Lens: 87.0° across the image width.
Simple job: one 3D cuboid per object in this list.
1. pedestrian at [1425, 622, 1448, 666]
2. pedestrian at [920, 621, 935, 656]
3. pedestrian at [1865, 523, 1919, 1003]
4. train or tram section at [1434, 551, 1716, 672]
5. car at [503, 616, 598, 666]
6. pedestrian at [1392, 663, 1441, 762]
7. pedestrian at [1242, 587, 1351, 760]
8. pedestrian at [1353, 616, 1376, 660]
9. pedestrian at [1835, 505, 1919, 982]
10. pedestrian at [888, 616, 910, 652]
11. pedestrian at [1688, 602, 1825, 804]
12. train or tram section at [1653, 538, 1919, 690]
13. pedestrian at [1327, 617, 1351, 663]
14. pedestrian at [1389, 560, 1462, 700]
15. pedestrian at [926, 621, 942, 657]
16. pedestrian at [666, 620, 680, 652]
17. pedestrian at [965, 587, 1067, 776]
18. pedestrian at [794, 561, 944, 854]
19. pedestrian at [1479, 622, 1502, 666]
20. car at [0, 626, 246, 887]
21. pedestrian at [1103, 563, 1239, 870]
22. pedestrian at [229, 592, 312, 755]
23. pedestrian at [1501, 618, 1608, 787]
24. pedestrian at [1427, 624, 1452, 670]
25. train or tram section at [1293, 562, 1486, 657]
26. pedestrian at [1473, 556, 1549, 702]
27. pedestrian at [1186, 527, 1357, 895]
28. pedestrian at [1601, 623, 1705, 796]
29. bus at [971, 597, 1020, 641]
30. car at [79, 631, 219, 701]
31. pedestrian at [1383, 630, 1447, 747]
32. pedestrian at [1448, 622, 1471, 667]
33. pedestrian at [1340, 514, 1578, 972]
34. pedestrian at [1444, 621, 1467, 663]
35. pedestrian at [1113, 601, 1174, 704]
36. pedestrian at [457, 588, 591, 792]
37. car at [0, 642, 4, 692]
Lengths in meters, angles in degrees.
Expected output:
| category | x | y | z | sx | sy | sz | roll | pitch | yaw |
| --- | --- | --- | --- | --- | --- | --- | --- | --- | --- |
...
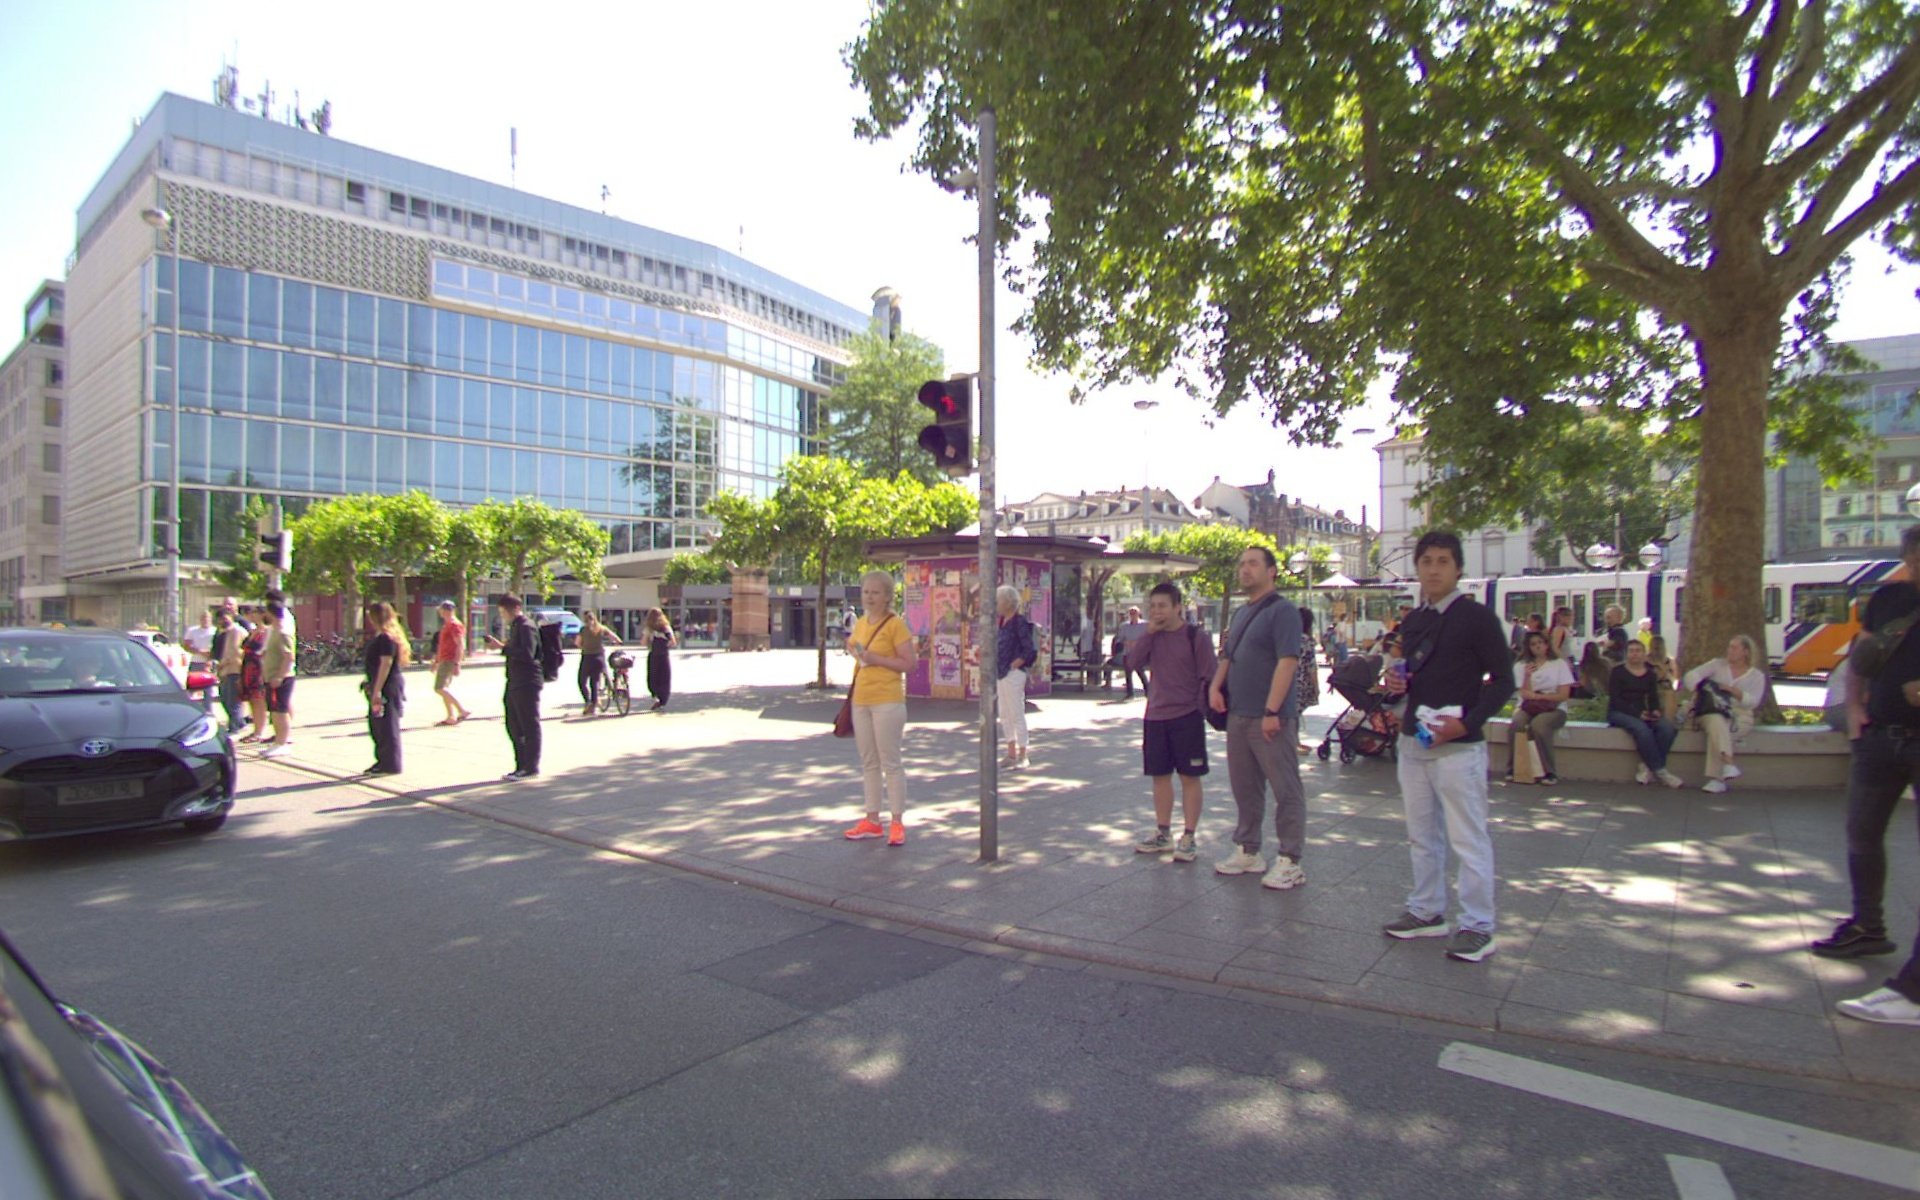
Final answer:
| category | x | y | z | sx | sy | sz | roll | pitch | yaw |
| --- | --- | --- | --- | --- | --- | --- | --- | --- | --- |
| pedestrian | 16.726 | 1.529 | 35.521 | 0.554 | 1.483 | 0.748 | -1 | 0 | 39 |
| pedestrian | -1.401 | 1.676 | 43.641 | 0.410 | 1.483 | 0.459 | -1 | 0 | 37 |
| pedestrian | 3.688 | 0.557 | 3.400 | 0.620 | 1.661 | 0.754 | -1 | 0 | -24 |
| train or tram section | 22.127 | 0.358 | 37.366 | 2.577 | 3.856 | 9.548 | -1 | 0 | -17 |
| car | -18.202 | 1.791 | 44.924 | 3.988 | 2.029 | 1.978 | -1 | 0 | 33 |
| pedestrian | 4.699 | 1.150 | 10.421 | 0.334 | 0.974 | 0.282 | -1 | 0 | -20 |
| pedestrian | 3.598 | 0.749 | 10.857 | 0.739 | 1.760 | 0.785 | -1 | 0 | -24 |
| pedestrian | 13.803 | 1.282 | 34.550 | 0.547 | 1.483 | 0.532 | -1 | 0 | -43 |
| pedestrian | 3.984 | 0.552 | 4.000 | 0.510 | 1.849 | 0.716 | -1 | 0 | -43 |
| pedestrian | -2.574 | 1.426 | 42.528 | 0.554 | 1.483 | 0.748 | -1 | 0 | 37 |
| pedestrian | 6.766 | 0.831 | 8.639 | 0.779 | 1.608 | 0.744 | -1 | 0 | 30 |
| train or tram section | 24.883 | 0.329 | 28.259 | 2.577 | 3.856 | 9.548 | -1 | 0 | -17 |
| pedestrian | 12.537 | 1.314 | 33.502 | 0.547 | 1.483 | 0.532 | -1 | 0 | -43 |
| pedestrian | 6.116 | 0.382 | 13.286 | 0.779 | 1.760 | 0.744 | -1 | 0 | 30 |
| pedestrian | -1.011 | 1.510 | 39.427 | 0.436 | 1.394 | 0.458 | -1 | 0 | 38 |
| pedestrian | -13.700 | 1.718 | 48.345 | 0.399 | 1.483 | 0.460 | -1 | 0 | 23 |
| pedestrian | 0.554 | 0.762 | 9.925 | 0.666 | 1.760 | 0.742 | -1 | 0 | 38 |
| pedestrian | -0.593 | 0.654 | 6.575 | 0.752 | 1.760 | 0.605 | -1 | -1 | 38 |
| pedestrian | 18.215 | 1.494 | 34.759 | 0.554 | 1.483 | 0.748 | -1 | 0 | 39 |
| car | -6.841 | 0.942 | 7.359 | 3.997 | 1.486 | 1.759 | -1 | -2 | 41 |
| pedestrian | 1.283 | 0.666 | 6.143 | 0.606 | 1.728 | 0.597 | -1 | -2 | 38 |
| pedestrian | -8.548 | 0.879 | 12.547 | 0.732 | 1.928 | 0.631 | -1 | 0 | 38 |
| pedestrian | 5.346 | 0.889 | 9.140 | 0.779 | 1.418 | 0.744 | -1 | 0 | 30 |
| pedestrian | 16.190 | 1.570 | 34.160 | 0.554 | 1.483 | 0.748 | -1 | 0 | 39 |
| train or tram section | 19.313 | 0.389 | 46.466 | 2.577 | 3.856 | 9.548 | -1 | 0 | -17 |
| pedestrian | 6.918 | 0.356 | 12.715 | 0.779 | 1.760 | 0.744 | -1 | 0 | 30 |
| pedestrian | 1.714 | 0.571 | 5.582 | 0.737 | 1.860 | 0.587 | -1 | -3 | 38 |
| pedestrian | 6.130 | 0.932 | 8.993 | 0.671 | 1.435 | 0.744 | -1 | 0 | 29 |
| bus | 2.691 | 1.205 | 72.035 | 2.362 | 2.811 | 12.157 | -1 | 0 | 7 |
| car | -26.866 | 2.127 | 33.714 | 1.967 | 2.029 | 4.009 | -1 | 0 | -10 |
| pedestrian | 5.129 | 0.974 | 11.410 | 0.612 | 1.251 | 0.666 | -1 | 0 | 25 |
| pedestrian | 17.216 | 1.520 | 34.875 | 0.554 | 1.483 | 0.748 | -1 | 0 | 39 |
| pedestrian | 2.132 | 0.555 | 4.396 | 0.529 | 1.796 | 0.745 | -1 | 0 | -16 |
| pedestrian | 17.768 | 1.502 | 36.307 | 0.554 | 1.483 | 0.748 | -1 | 0 | 39 |
| pedestrian | 3.252 | 0.906 | 17.970 | 0.782 | 1.760 | 0.742 | -1 | 0 | 38 |
| pedestrian | -4.010 | 0.780 | 9.325 | 0.732 | 1.760 | 0.866 | -1 | 0 | 38 |
| car | -17.222 | 1.347 | 16.673 | 3.998 | 1.415 | 1.677 | -1 | -5 | 41 |
